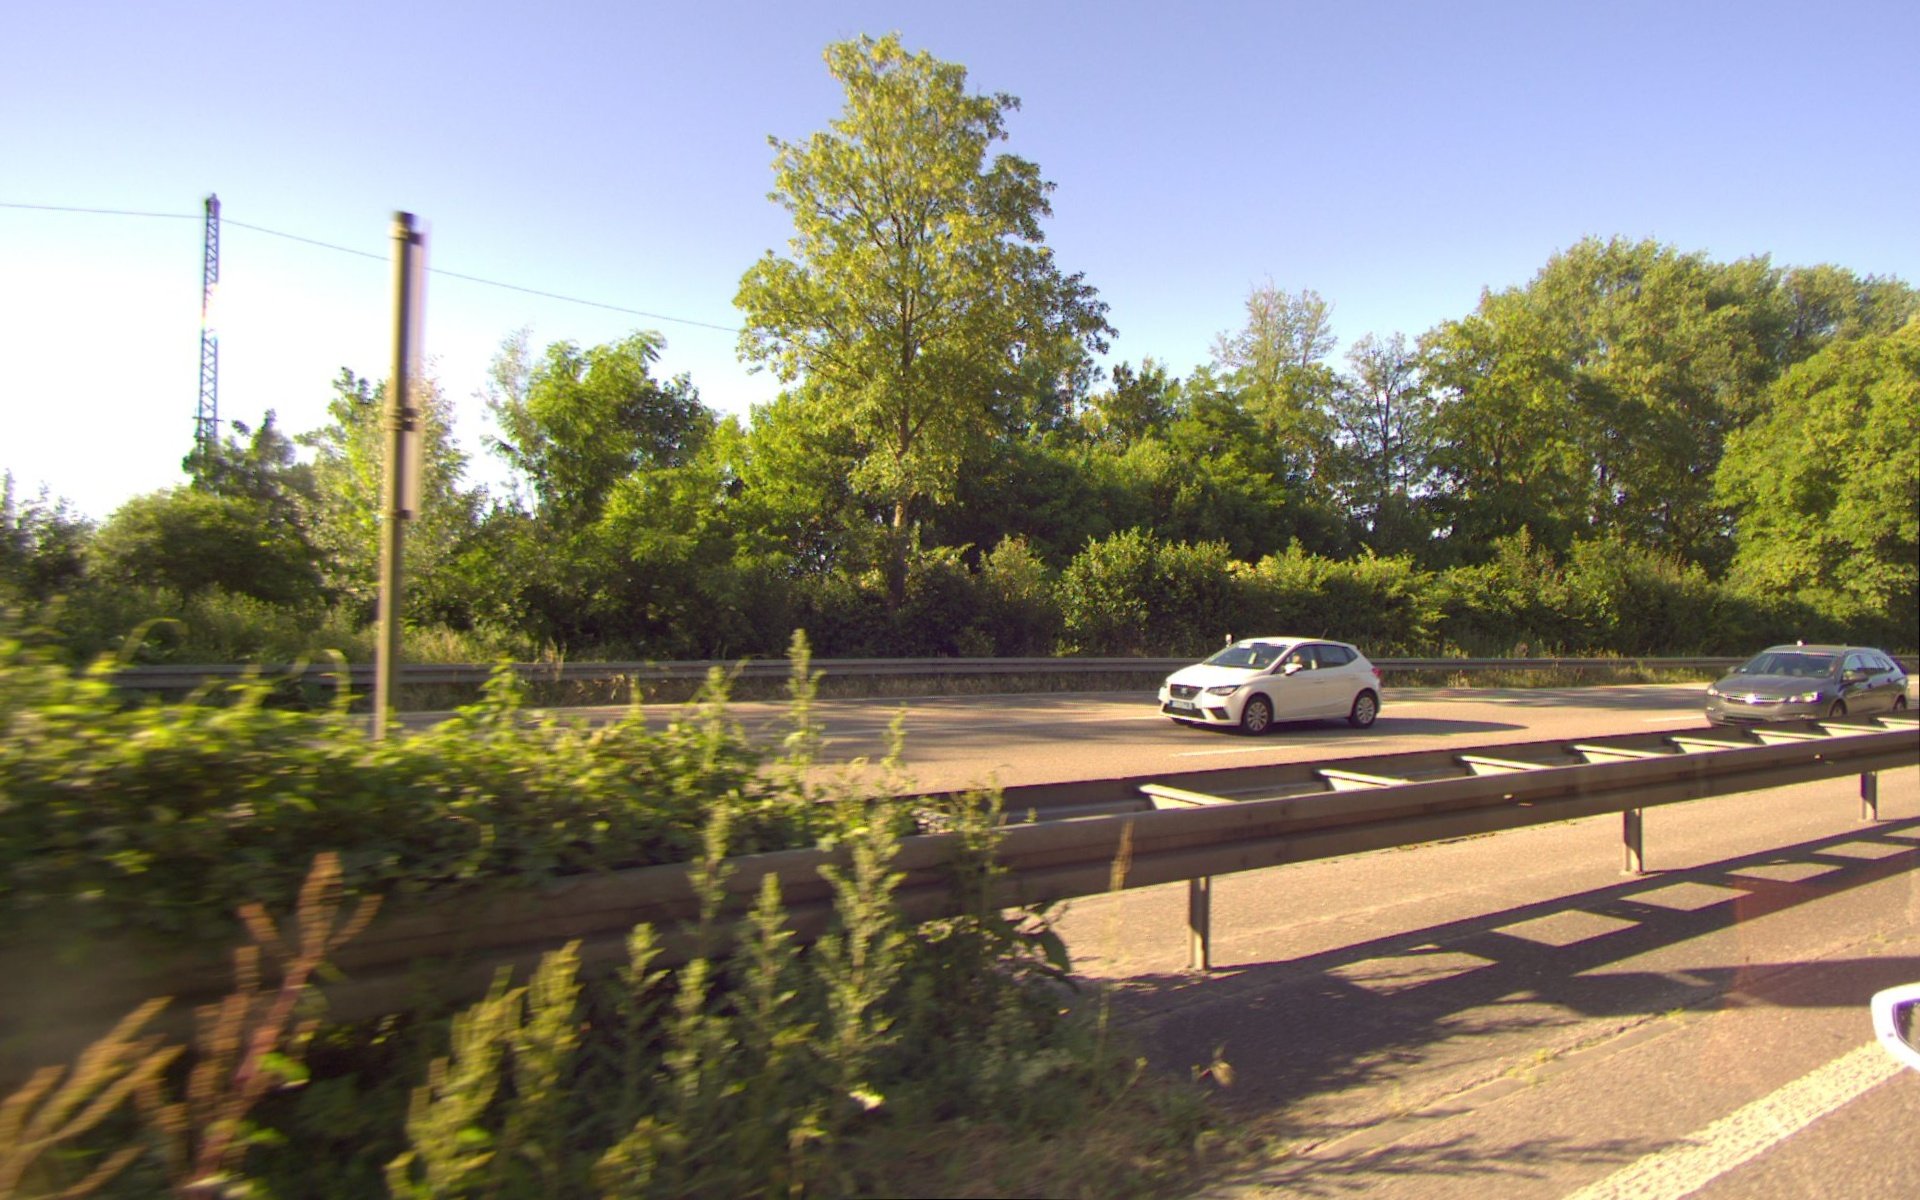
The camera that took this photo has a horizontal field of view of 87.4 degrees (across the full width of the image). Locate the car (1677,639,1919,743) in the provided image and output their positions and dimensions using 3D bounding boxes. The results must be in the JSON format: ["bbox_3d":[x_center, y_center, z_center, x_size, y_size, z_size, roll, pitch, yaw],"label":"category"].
[{"bbox_3d":[14.869,1.506,17.774,4.413,1.561,1.951,1,0,-31],"label":"car"}]

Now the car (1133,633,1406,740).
[{"bbox_3d":[5.145,1.327,16.585,4.276,1.469,1.951,1,0,-31],"label":"car"}]
